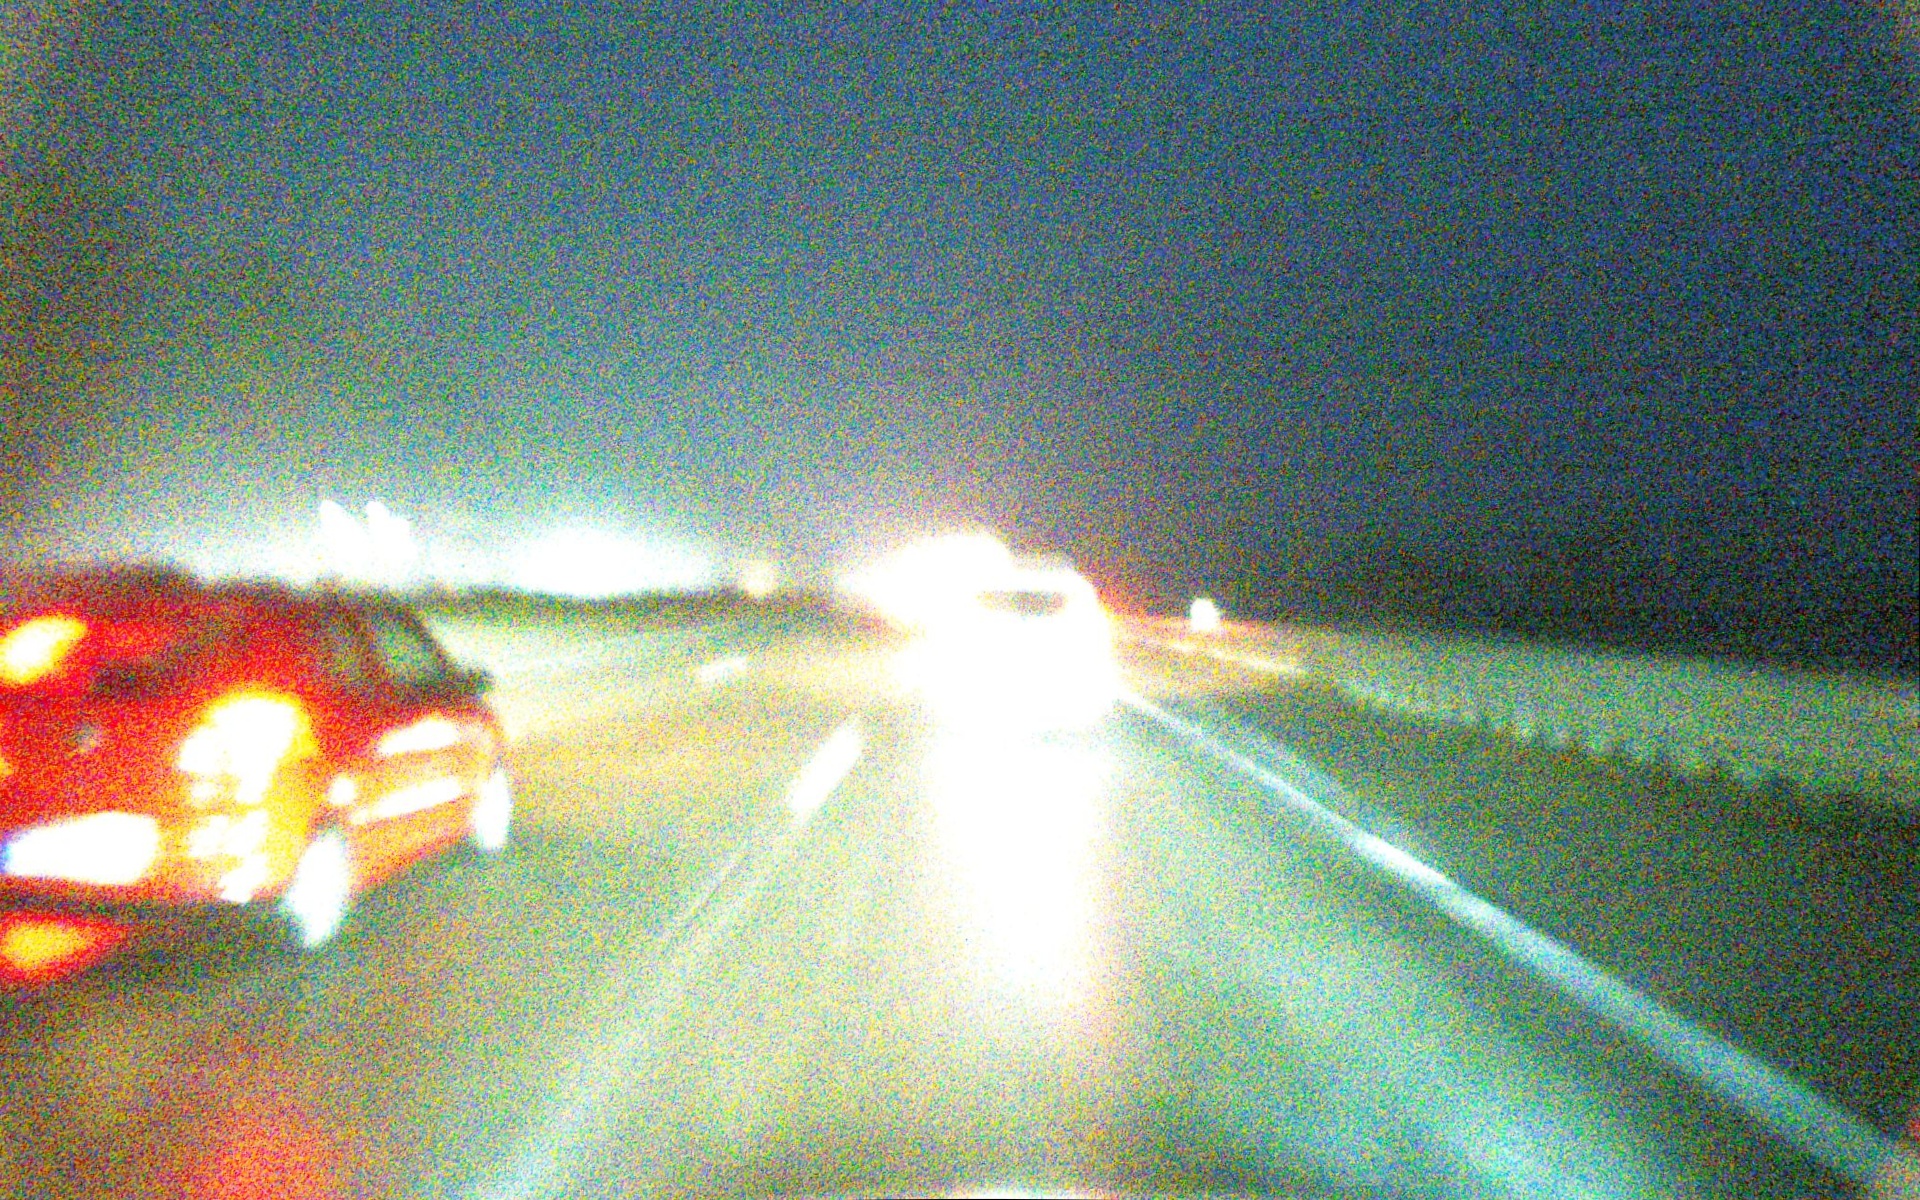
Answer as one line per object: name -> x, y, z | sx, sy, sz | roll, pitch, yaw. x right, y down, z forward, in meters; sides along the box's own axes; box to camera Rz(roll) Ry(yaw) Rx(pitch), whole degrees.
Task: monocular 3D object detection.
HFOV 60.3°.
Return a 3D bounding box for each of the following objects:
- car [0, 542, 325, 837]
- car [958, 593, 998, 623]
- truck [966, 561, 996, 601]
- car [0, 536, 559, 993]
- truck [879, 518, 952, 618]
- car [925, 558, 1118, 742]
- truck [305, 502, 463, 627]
car -> -6.785, 0.552, 12.593 | 1.952, 1.808, 4.887 | 1, 0, 0
car -> 0.882, 0.389, 84.562 | 1.852, 1.377, 3.999 | 5, 0, -1
truck -> 2.753, -2.466, 220.874 | 3.746, 5.001, 11.604 | 1, 0, -1
car -> -3.416, 0.597, 8.043 | 1.877, 1.622, 4.233 | 1, 0, 0
truck -> -2.579, -1.756, 100.916 | 4.082, 5.641, 13.072 | 1, 0, 0
car -> 0.571, 0.524, 19.231 | 1.913, 1.823, 5.122 | 1, 0, -1
truck -> -22.798, -1.330, 65.847 | 4.082, 4.705, 5.846 | 1, -1, 1
